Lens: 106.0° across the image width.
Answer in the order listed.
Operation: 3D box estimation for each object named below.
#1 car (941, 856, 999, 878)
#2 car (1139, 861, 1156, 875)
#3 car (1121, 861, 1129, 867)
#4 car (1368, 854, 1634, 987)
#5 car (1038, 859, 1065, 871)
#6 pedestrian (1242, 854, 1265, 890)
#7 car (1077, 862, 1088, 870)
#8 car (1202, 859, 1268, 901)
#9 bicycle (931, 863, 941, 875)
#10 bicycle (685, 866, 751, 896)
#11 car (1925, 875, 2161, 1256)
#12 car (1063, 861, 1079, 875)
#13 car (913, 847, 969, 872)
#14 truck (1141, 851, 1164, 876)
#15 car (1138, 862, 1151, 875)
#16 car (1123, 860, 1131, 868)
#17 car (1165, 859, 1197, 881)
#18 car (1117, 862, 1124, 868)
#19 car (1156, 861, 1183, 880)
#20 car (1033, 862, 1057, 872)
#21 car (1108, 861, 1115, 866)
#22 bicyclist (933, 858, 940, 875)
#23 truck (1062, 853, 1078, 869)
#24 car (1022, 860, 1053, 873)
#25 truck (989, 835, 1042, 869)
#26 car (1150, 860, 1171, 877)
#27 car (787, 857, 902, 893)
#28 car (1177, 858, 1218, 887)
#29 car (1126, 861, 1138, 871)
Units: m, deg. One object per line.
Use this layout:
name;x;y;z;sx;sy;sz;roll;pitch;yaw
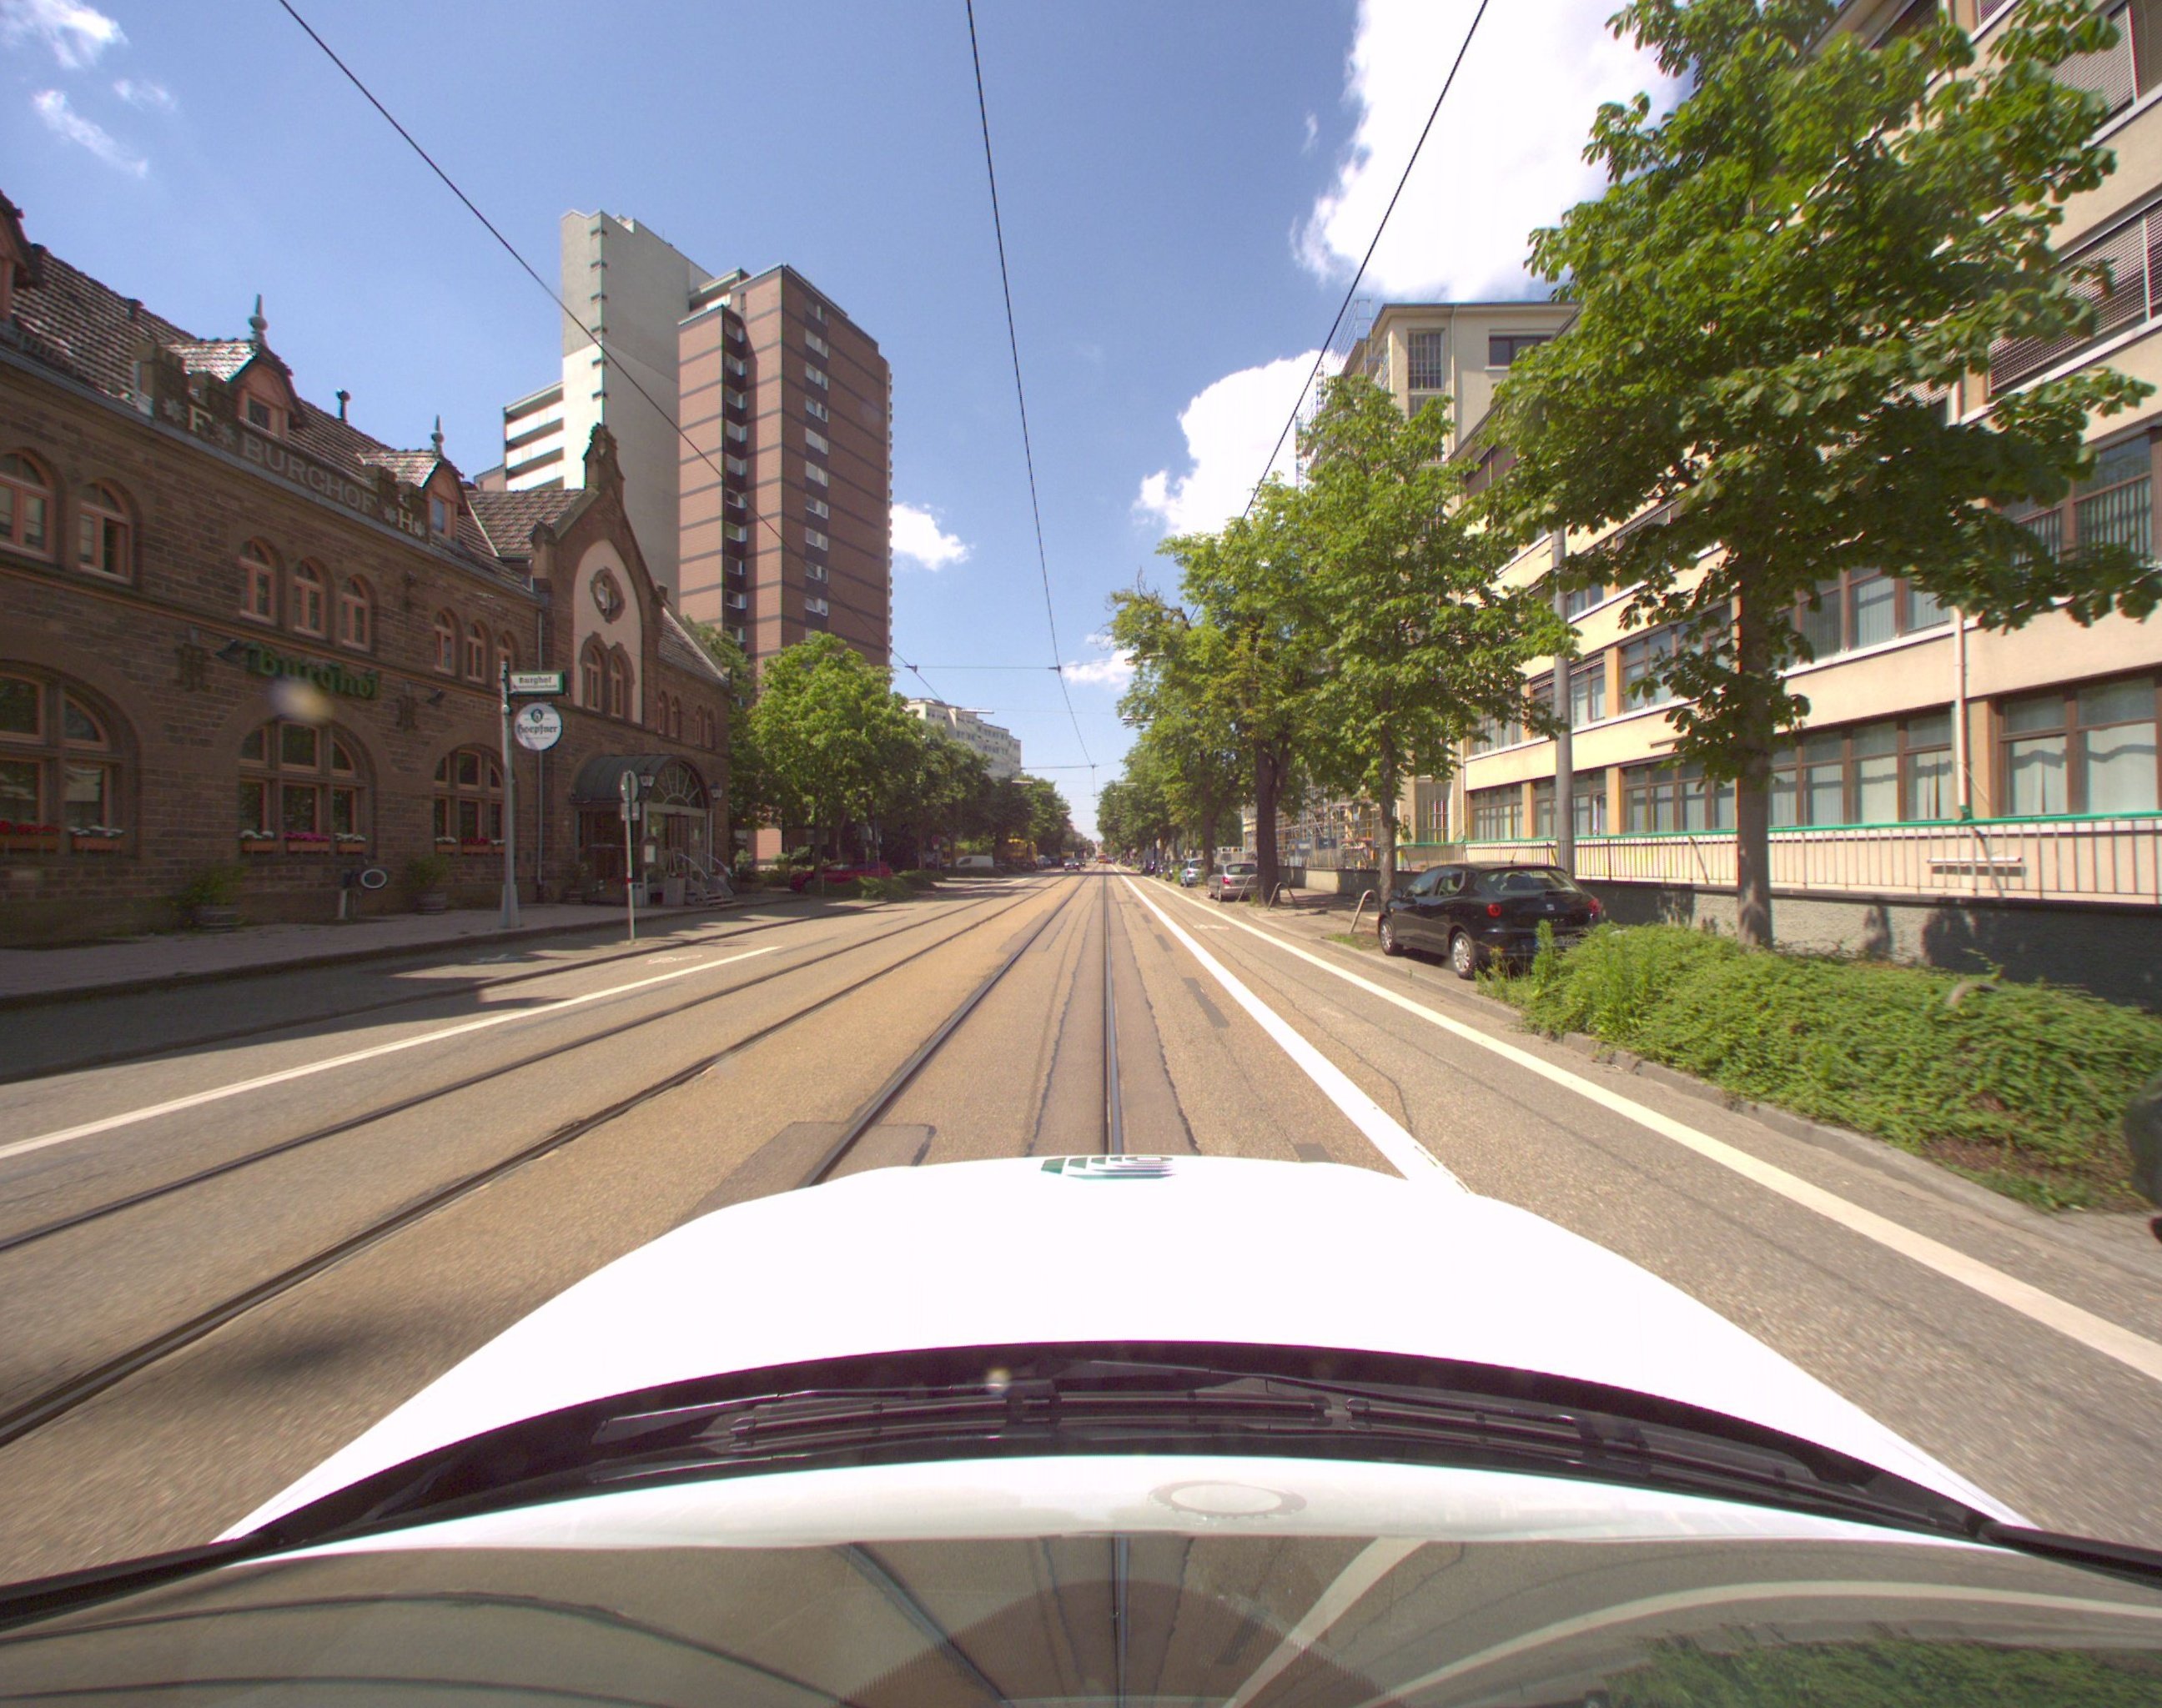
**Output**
car;-9.536;1.108;69.776;4.563;1.791;1.882;1;-1;-31
car;7.619;1.543;93.606;1.638;1.534;3.948;-1;0;1
car;10.725;2.417;199.633;1.704;1.423;4.310;-1;-1;1
car;5.481;0.771;11.270;1.665;1.489;3.981;-1;0;1
car;-5.684;2.172;155.047;4.785;2.062;2.003;-2;-1;-38
pedestrian;7.888;0.823;37.236;0.797;1.589;0.919;-2;-1;0
car;0.350;2.079;146.040;1.767;1.397;4.289;-1;-1;2
car;5.908;0.974;31.709;1.667;1.499;4.363;-1;0;-1
bicycle;-13.020;1.361;73.239;0.516;1.047;1.876;1;0;0
bicycle;-12.836;0.953;28.811;1.999;0.891;0.594;4;-1;-16
car;4.884;0.792;1.555;1.665;1.408;4.749;-1;0;1
car;-1.226;1.743;103.406;1.824;1.681;4.186;-1;-1;2
car;-15.610;0.677;91.341;2.157;2.566;6.765;-1;-2;31
truck;7.533;0.975;85.853;2.007;2.489;5.957;-1;0;1
car;8.209;1.868;105.398;1.637;1.534;3.788;-1;0;3
car;10.146;2.258;180.307;1.586;1.617;3.908;-1;-1;1
car;6.597;1.040;54.236;1.665;1.438;4.042;-1;0;1
car;10.622;2.959;217.670;1.704;1.423;4.310;-1;-1;1
car;6.960;1.268;64.382;1.817;1.471;4.489;-1;0;3
car;-6.224;2.241;142.300;1.740;1.433;4.024;-5;-2;44
car;8.425;2.769;225.775;1.774;1.346;3.417;-1;-1;2
bicyclist;-13.015;1.138;73.260;0.479;1.481;0.780;1;-1;0
truck;-2.041;1.299;155.437;2.350;2.852;7.384;-2;-1;3
car;-6.848;1.983;128.922;1.898;1.935;4.785;-4;-2;44
truck;-7.887;-0.107;99.443;2.695;3.842;11.008;0;-1;16
car;7.376;1.325;75.394;1.816;1.471;4.405;-1;0;4
car;-10.806;0.923;37.276;4.790;1.566;1.984;0;-1;-27
car;6.338;0.980;44.695;1.665;1.517;4.202;-1;0;1
car;8.632;2.048;138.905;1.634;1.485;3.870;-1;-1;-1
